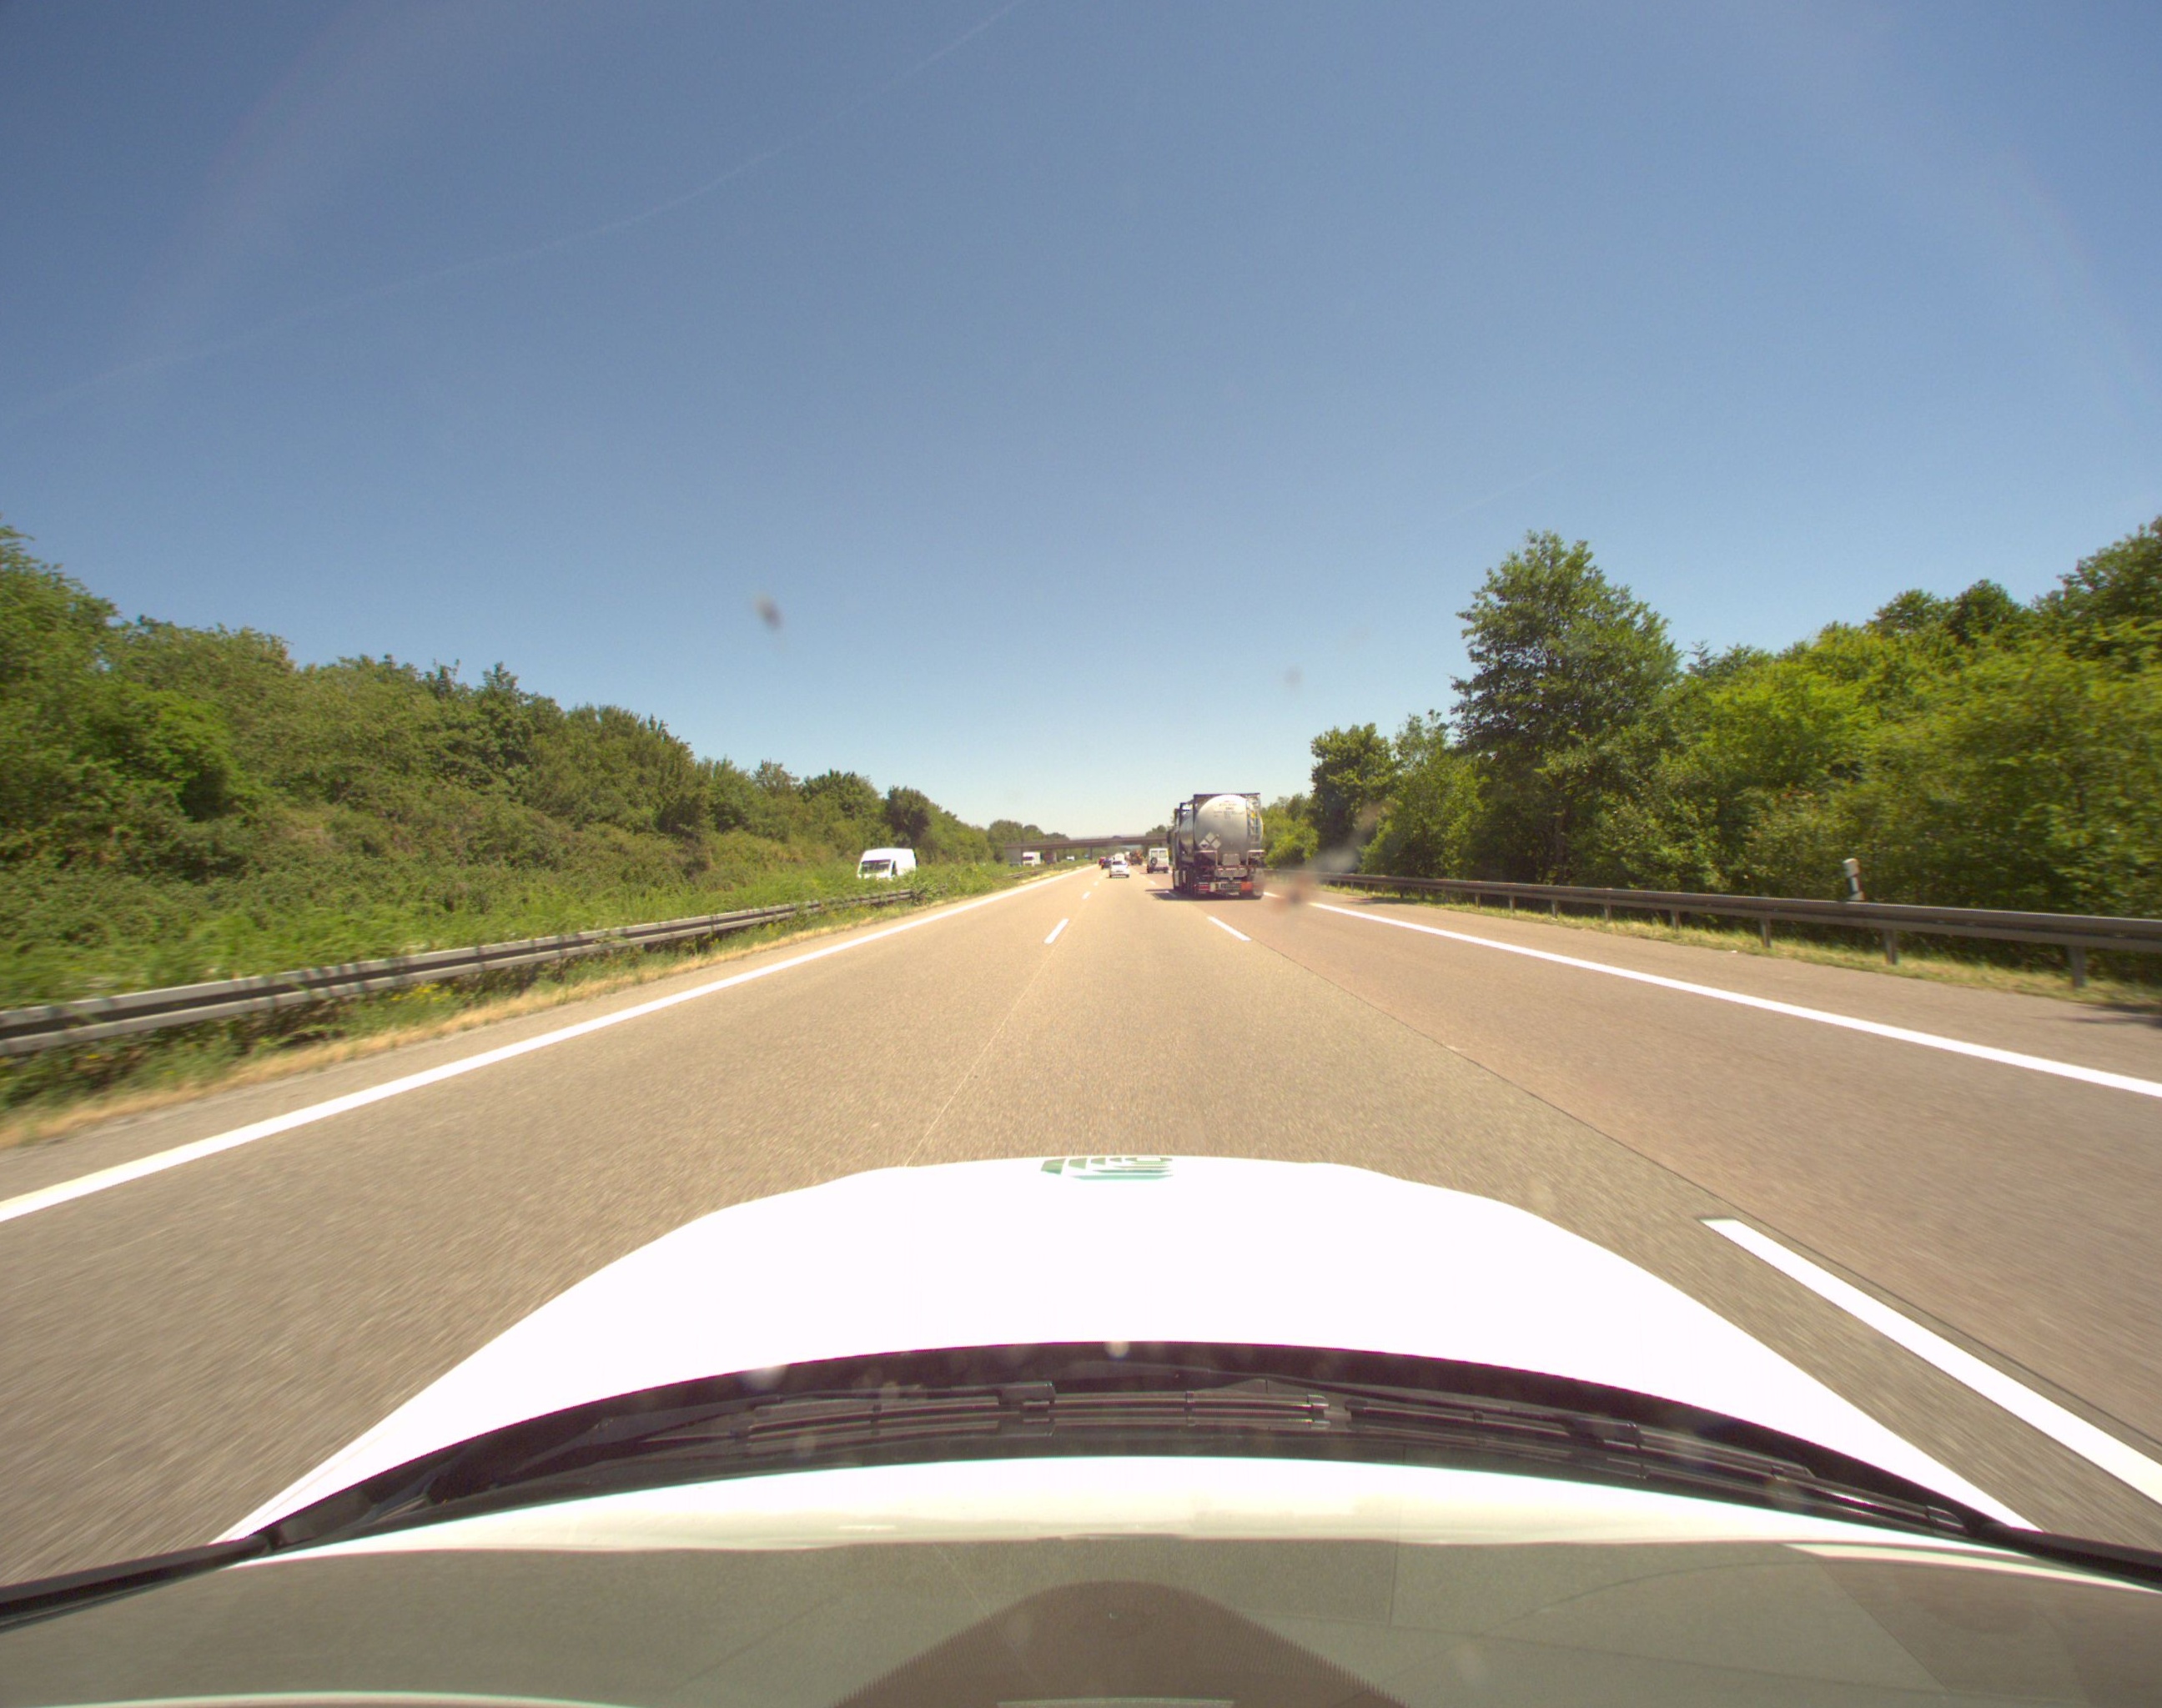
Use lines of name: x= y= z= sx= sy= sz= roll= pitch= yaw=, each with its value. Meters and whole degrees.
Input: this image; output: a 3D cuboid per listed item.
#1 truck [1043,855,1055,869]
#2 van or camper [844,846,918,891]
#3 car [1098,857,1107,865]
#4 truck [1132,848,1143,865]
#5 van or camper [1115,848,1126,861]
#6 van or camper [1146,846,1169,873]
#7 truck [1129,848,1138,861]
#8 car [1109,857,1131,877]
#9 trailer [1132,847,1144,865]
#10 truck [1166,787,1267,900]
truck: x=-9.440 y=2.443 z=242.871 sx=3.124 sy=4.231 sz=5.179 roll=0 pitch=-1 yaw=3
van or camper: x=-11.045 y=0.777 z=45.601 sx=2.416 sy=2.366 sz=6.339 roll=0 pitch=-1 yaw=2
car: x=5.154 y=1.629 z=191.081 sx=2.044 sy=2.014 sz=4.178 roll=0 pitch=-1 yaw=2
truck: x=13.490 y=0.518 z=194.635 sx=2.658 sy=3.994 sz=6.642 roll=-1 pitch=-1 yaw=3
van or camper: x=8.060 y=0.190 z=166.057 sx=2.049 sy=2.622 sz=5.990 roll=-1 pitch=-1 yaw=3
van or camper: x=8.185 y=0.599 z=88.120 sx=2.105 sy=2.703 sz=6.371 roll=-1 pitch=-1 yaw=2
truck: x=17.360 y=0.268 z=268.072 sx=3.065 sy=4.209 sz=16.860 roll=0 pitch=-1 yaw=4
car: x=3.324 y=1.084 z=70.411 sx=1.850 sy=1.652 sz=4.002 roll=0 pitch=-1 yaw=2
trailer: x=13.026 y=0.415 z=187.376 sx=2.642 sy=3.959 sz=13.648 roll=-1 pitch=0 yaw=3
truck: x=5.566 y=-0.319 z=35.994 sx=2.787 sy=4.046 sz=13.361 roll=0 pitch=-1 yaw=2
